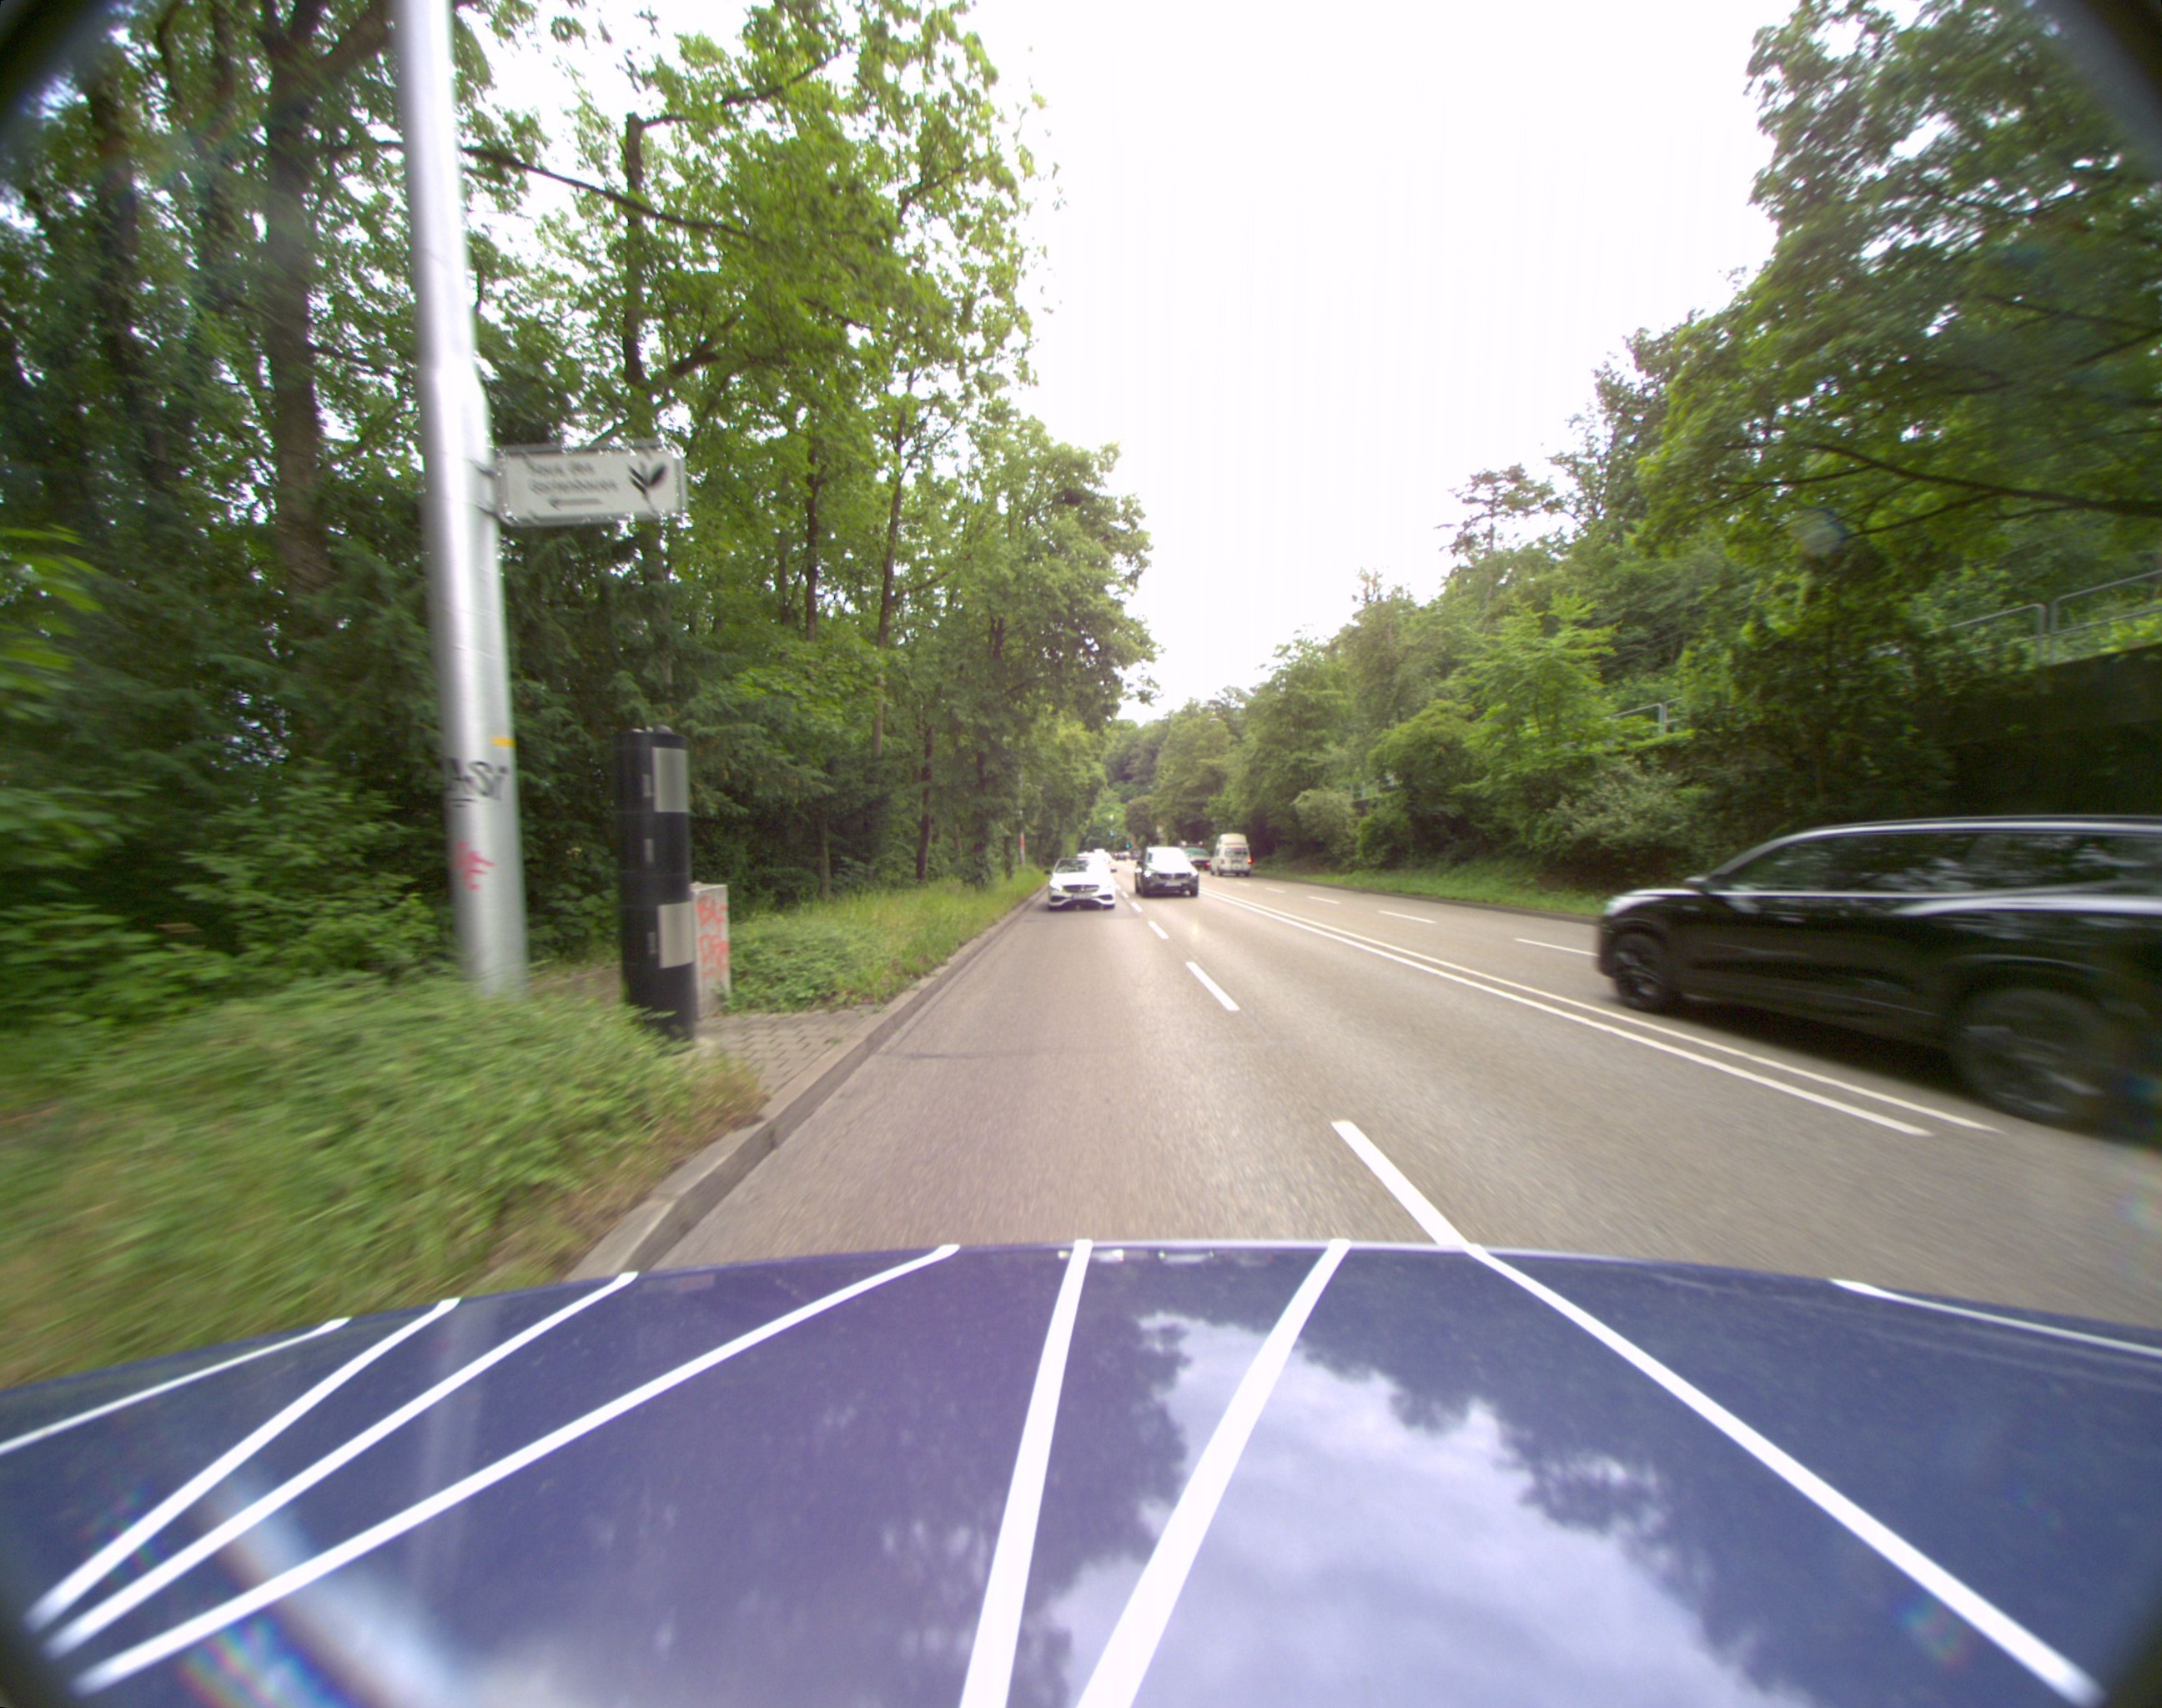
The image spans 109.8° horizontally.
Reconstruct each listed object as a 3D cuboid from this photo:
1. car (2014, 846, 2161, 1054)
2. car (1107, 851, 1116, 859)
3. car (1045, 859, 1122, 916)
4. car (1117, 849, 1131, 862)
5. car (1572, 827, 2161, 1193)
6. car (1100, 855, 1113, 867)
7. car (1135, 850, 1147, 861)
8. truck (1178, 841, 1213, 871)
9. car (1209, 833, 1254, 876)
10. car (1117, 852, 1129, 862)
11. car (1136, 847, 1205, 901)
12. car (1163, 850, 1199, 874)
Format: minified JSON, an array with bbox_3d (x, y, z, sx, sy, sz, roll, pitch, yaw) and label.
[{"bbox_3d":[9.137,0.775,4.713,1.794,1.602,4.191,1,1,7],"label":"car"},{"bbox_3d":[6.441,0.155,162.164,1.802,1.543,3.999,-2,1,1],"label":"car"},{"bbox_3d":[0.079,0.873,21.476,1.897,1.289,4.327,-2,1,0],"label":"car"},{"bbox_3d":[7.065,0.214,125.391,1.691,1.452,3.999,-28,1,1],"label":"car"},{"bbox_3d":[5.792,0.735,5.111,1.815,1.652,4.830,1,0,0],"label":"car"},{"bbox_3d":[3.669,1.031,110.018,1.697,1.573,3.999,-2,1,-1],"label":"car"},{"bbox_3d":[10.432,0.267,132.641,1.662,1.763,4.134,1,1,1],"label":"car"},{"bbox_3d":[9.679,0.106,64.603,2.182,2.397,6.465,2,1,2],"label":"truck"},{"bbox_3d":[9.413,0.010,47.897,1.892,2.541,4.914,2,1,1],"label":"car"},{"bbox_3d":[7.013,0.445,127.492,1.736,1.502,4.432,1,1,1],"label":"car"},{"bbox_3d":[2.968,0.611,26.023,1.871,1.653,4.192,1,1,0],"label":"car"},{"bbox_3d":[6.518,0.495,49.945,1.843,1.457,4.465,-1,1,1],"label":"car"}]
